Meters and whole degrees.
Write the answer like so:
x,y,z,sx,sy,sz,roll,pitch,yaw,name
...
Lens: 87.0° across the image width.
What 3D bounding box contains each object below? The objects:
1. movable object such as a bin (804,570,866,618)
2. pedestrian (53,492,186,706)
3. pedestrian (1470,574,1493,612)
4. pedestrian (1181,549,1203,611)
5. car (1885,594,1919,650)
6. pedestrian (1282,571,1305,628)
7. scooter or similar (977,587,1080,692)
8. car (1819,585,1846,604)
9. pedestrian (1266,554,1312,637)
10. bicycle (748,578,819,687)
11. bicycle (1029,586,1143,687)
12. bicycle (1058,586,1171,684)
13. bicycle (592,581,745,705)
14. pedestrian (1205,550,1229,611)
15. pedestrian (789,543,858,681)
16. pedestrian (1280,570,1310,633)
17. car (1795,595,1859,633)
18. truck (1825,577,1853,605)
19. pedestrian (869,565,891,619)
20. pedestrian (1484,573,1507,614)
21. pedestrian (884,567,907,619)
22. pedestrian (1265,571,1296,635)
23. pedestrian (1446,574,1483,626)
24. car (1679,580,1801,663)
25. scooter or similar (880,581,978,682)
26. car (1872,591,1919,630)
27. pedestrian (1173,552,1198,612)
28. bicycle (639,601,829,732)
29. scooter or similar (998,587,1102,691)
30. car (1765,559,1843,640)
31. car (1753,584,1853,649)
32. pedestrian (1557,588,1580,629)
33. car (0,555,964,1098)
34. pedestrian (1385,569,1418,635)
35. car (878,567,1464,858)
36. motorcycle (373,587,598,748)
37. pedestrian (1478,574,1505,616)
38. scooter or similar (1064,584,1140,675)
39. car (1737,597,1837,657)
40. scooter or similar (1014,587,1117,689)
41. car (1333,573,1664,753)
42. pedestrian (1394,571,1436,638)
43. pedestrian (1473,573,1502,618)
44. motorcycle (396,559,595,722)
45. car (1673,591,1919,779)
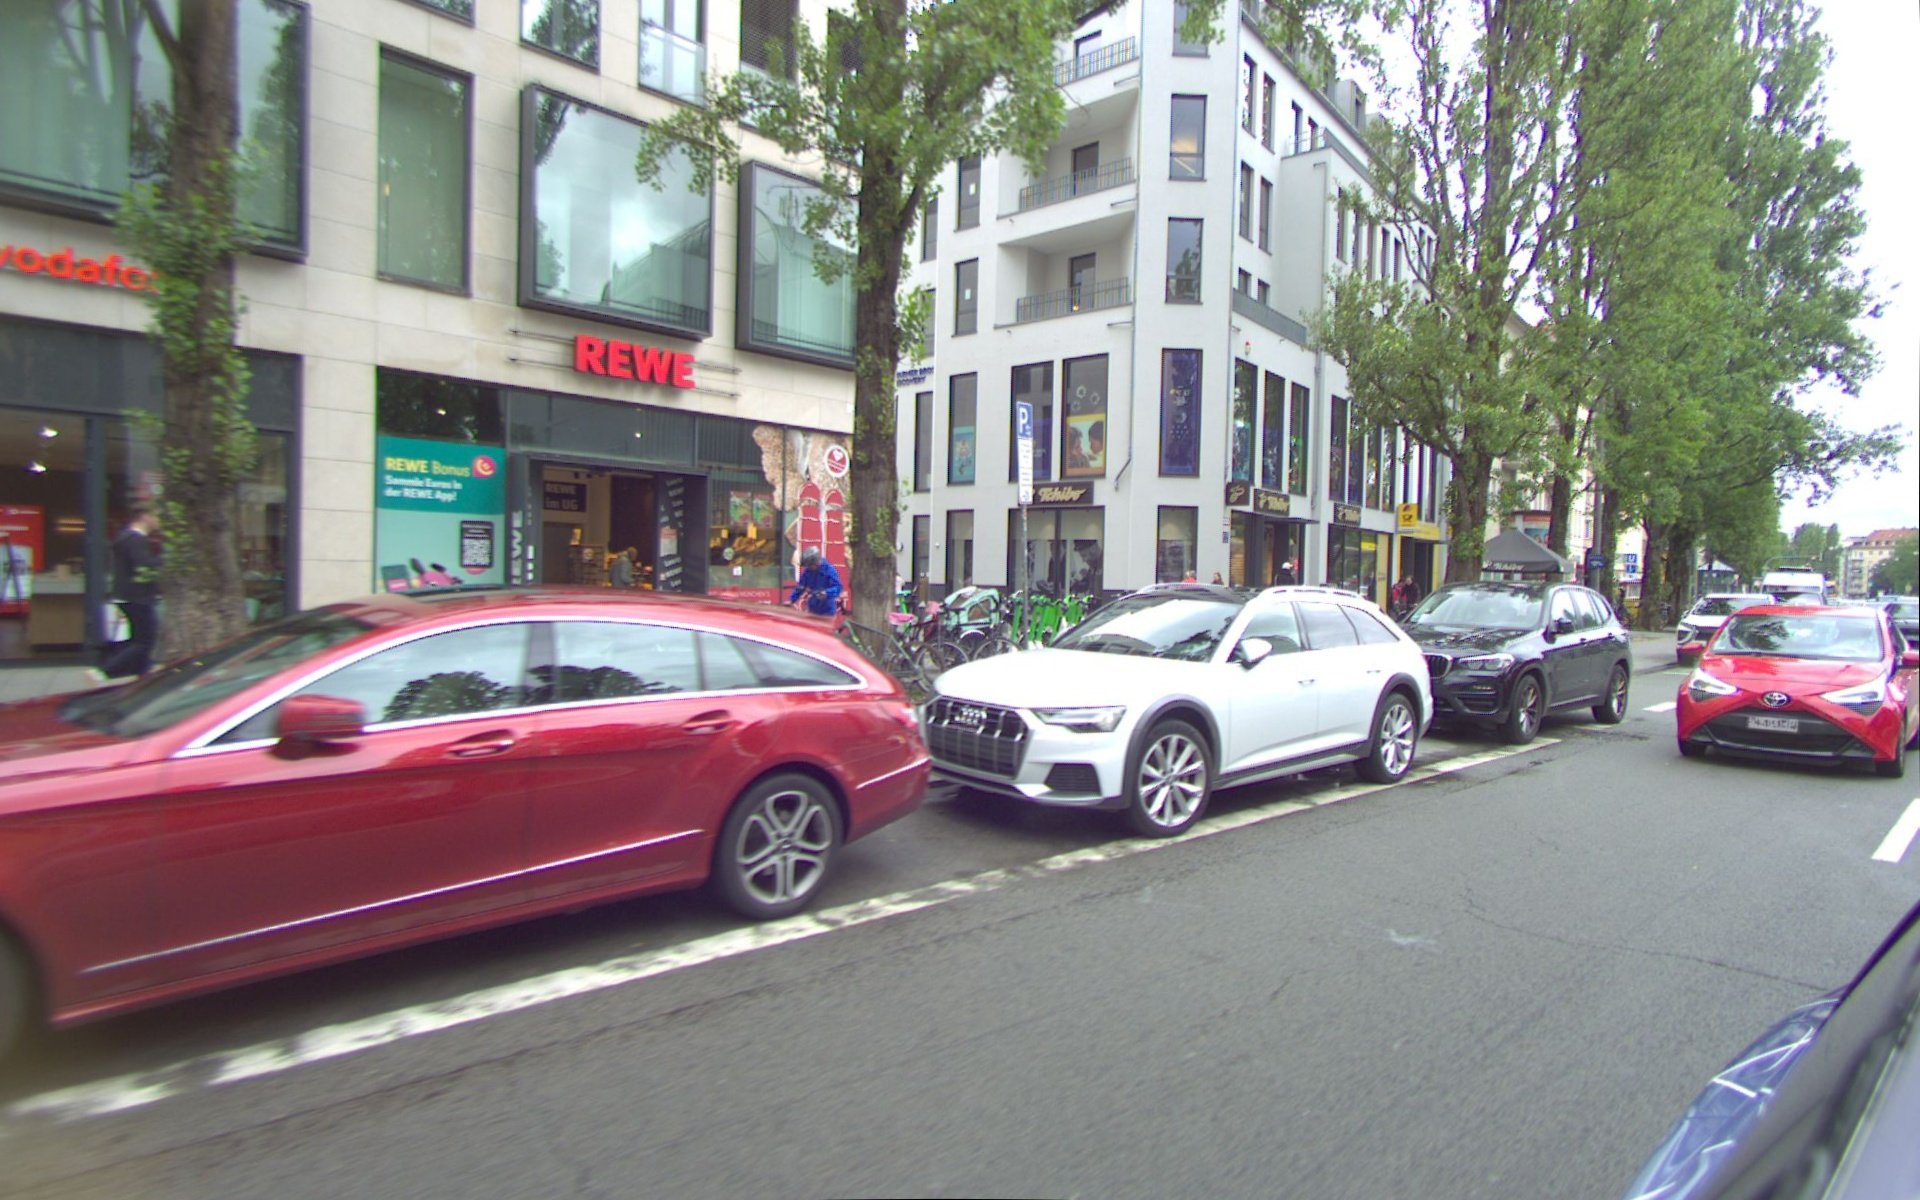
x,y,z,sx,sy,sz,roll,pitch,yaw,name
-3.658,-0.162,29.725,1.108,1.334,1.371,3,1,43,movable object such as a bin
-7.931,-0.029,9.574,0.922,1.892,0.819,1,2,-40,pedestrian
22.606,-0.296,43.875,0.690,1.604,0.761,3,1,41,pedestrian
6.217,-0.535,27.118,0.542,1.645,0.504,0,0,18,pedestrian
27.551,0.604,28.787,1.734,1.488,3.990,2,1,41,car
9.579,-0.021,29.065,0.557,1.595,0.673,2,1,18,pedestrian
0.856,0.475,12.933,0.306,1.215,1.435,1,2,-45,scooter or similar
84.867,-0.554,98.450,1.853,1.727,3.941,4,3,41,car
8.002,-0.117,24.589,0.647,1.948,0.911,4,2,45,pedestrian
-2.172,0.351,12.302,0.442,1.186,1.772,1,2,-22,bicycle
1.666,0.459,13.553,0.527,1.222,1.480,1,2,-44,bicycle
2.107,0.452,13.918,0.527,1.222,1.480,1,2,-44,bicycle
-2.983,0.435,10.456,1.425,1.204,0.548,2,1,-7,bicycle
6.946,-0.533,27.349,0.498,1.645,0.549,0,0,0,pedestrian
-1.694,0.125,12.500,0.599,1.639,0.796,1,2,-23,pedestrian
9.034,0.040,27.304,0.560,1.654,0.491,1,2,-42,pedestrian
35.587,0.543,41.513,1.725,1.472,4.080,-1,0,44,car
116.115,-1.213,133.793,2.532,3.531,7.638,4,3,40,truck
-2.486,-0.248,31.378,0.490,1.645,0.508,0,1,-32,pedestrian
22.658,-0.277,42.819,0.690,1.669,0.786,3,1,41,pedestrian
-2.015,-0.221,31.765,0.541,1.600,0.508,0,1,-32,pedestrian
8.094,0.072,25.579,0.560,1.586,0.491,1,2,-42,pedestrian
16.486,0.003,33.071,0.800,1.657,1.007,3,1,43,pedestrian
17.757,0.424,22.962,1.727,1.707,4.338,1,1,44,car
-0.431,0.381,13.352,0.544,1.226,1.388,1,2,-38,scooter or similar
45.478,0.491,48.864,1.991,1.772,3.942,1,1,41,car
6.189,-0.497,27.820,0.538,1.645,0.508,0,0,-7,pedestrian
-2.081,0.569,9.522,0.640,1.076,1.749,3,2,35,bicycle
1.137,0.474,12.999,0.306,1.215,1.435,1,2,-45,scooter or similar
31.032,-0.070,37.162,1.992,2.776,5.470,1,1,42,car
25.664,0.440,30.748,1.930,1.827,4.702,1,1,45,car
20.351,0.279,33.829,0.589,1.358,0.389,0,0,20,pedestrian
-2.377,0.592,4.293,4.722,1.468,1.934,0,2,-43,car
12.167,0.045,27.864,0.665,1.746,0.760,3,2,33,pedestrian
1.838,0.590,7.668,4.721,1.519,1.814,0,3,-41,car
-3.895,0.496,8.441,0.681,1.170,1.629,2,2,26,motorcycle
20.766,-0.209,39.551,0.682,1.577,0.739,4,2,43,pedestrian
2.056,0.403,14.685,0.373,1.241,1.051,1,2,-44,scooter or similar
22.094,0.657,26.978,1.771,1.451,4.499,0,0,43,car
1.354,0.469,13.234,0.306,1.215,1.435,1,2,-45,scooter or similar
6.436,0.557,11.869,4.569,1.721,1.928,-1,1,-41,car
11.944,0.109,26.589,0.771,1.696,0.714,0,2,-45,pedestrian
19.144,-0.181,36.718,0.682,1.577,0.739,4,2,43,pedestrian
-4.315,0.328,9.524,0.681,1.373,1.629,2,2,26,motorcycle
8.434,0.666,9.930,3.536,1.464,1.667,-1,1,-43,car
